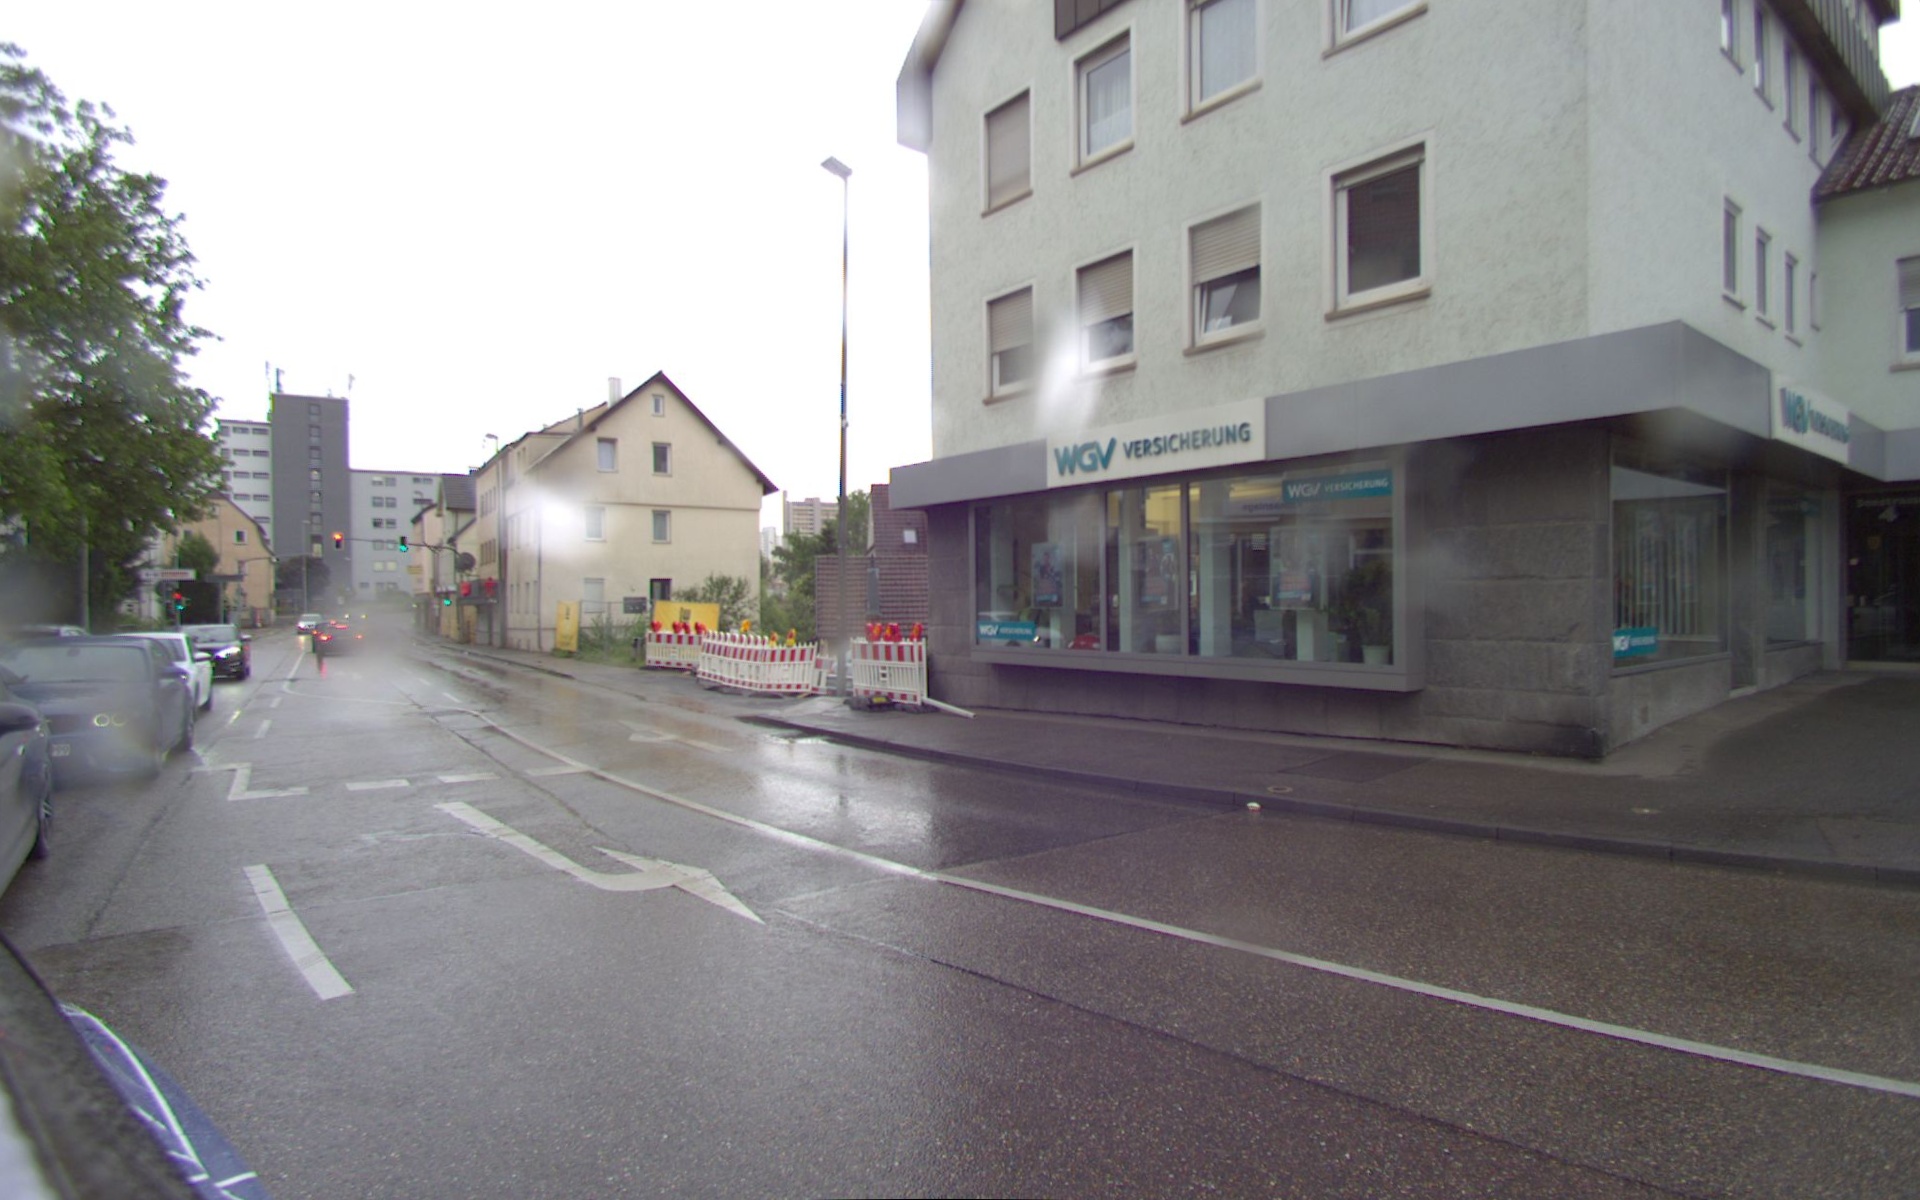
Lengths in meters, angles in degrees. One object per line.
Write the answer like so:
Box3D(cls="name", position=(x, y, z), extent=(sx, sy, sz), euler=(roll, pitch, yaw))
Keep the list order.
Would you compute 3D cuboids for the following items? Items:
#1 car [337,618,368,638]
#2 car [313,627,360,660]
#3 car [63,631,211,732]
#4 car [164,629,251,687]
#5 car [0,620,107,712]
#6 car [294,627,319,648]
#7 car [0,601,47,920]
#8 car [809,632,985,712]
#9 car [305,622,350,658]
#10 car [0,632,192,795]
Box3D(cls="car", position=(-60.744, 2.784, 101.268), extent=(1.764, 1.866, 3.847), euler=(-1, -1, -17))
Box3D(cls="car", position=(-28.312, 1.944, 45.937), extent=(1.684, 1.394, 3.679), euler=(-1, -1, -33))
Box3D(cls="car", position=(-13.830, 1.277, 17.195), extent=(1.660, 1.432, 4.010), euler=(-1, -1, -35))
Box3D(cls="car", position=(-21.437, 1.587, 28.963), extent=(1.659, 1.472, 4.011), euler=(-1, -1, -32))
Box3D(cls="car", position=(-20.112, 1.356, 21.747), extent=(1.904, 1.794, 4.748), euler=(0, -2, -30))
Box3D(cls="car", position=(-51.494, 2.916, 79.769), extent=(1.589, 1.515, 3.728), euler=(-2, 0, -33))
Box3D(cls="car", position=(-5.703, 0.819, 4.751), extent=(1.792, 1.583, 4.284), euler=(-1, -1, -38))
Box3D(cls="car", position=(-1.302, 1.599, 21.810), extent=(3.456, 1.401, 1.653), euler=(10, -10, -41))
Box3D(cls="car", position=(-32.059, 2.018, 51.239), extent=(1.791, 1.657, 4.287), euler=(-1, -1, -34))
Box3D(cls="car", position=(-9.358, 1.066, 10.742), extent=(1.615, 1.443, 3.816), euler=(1, -2, -33))
